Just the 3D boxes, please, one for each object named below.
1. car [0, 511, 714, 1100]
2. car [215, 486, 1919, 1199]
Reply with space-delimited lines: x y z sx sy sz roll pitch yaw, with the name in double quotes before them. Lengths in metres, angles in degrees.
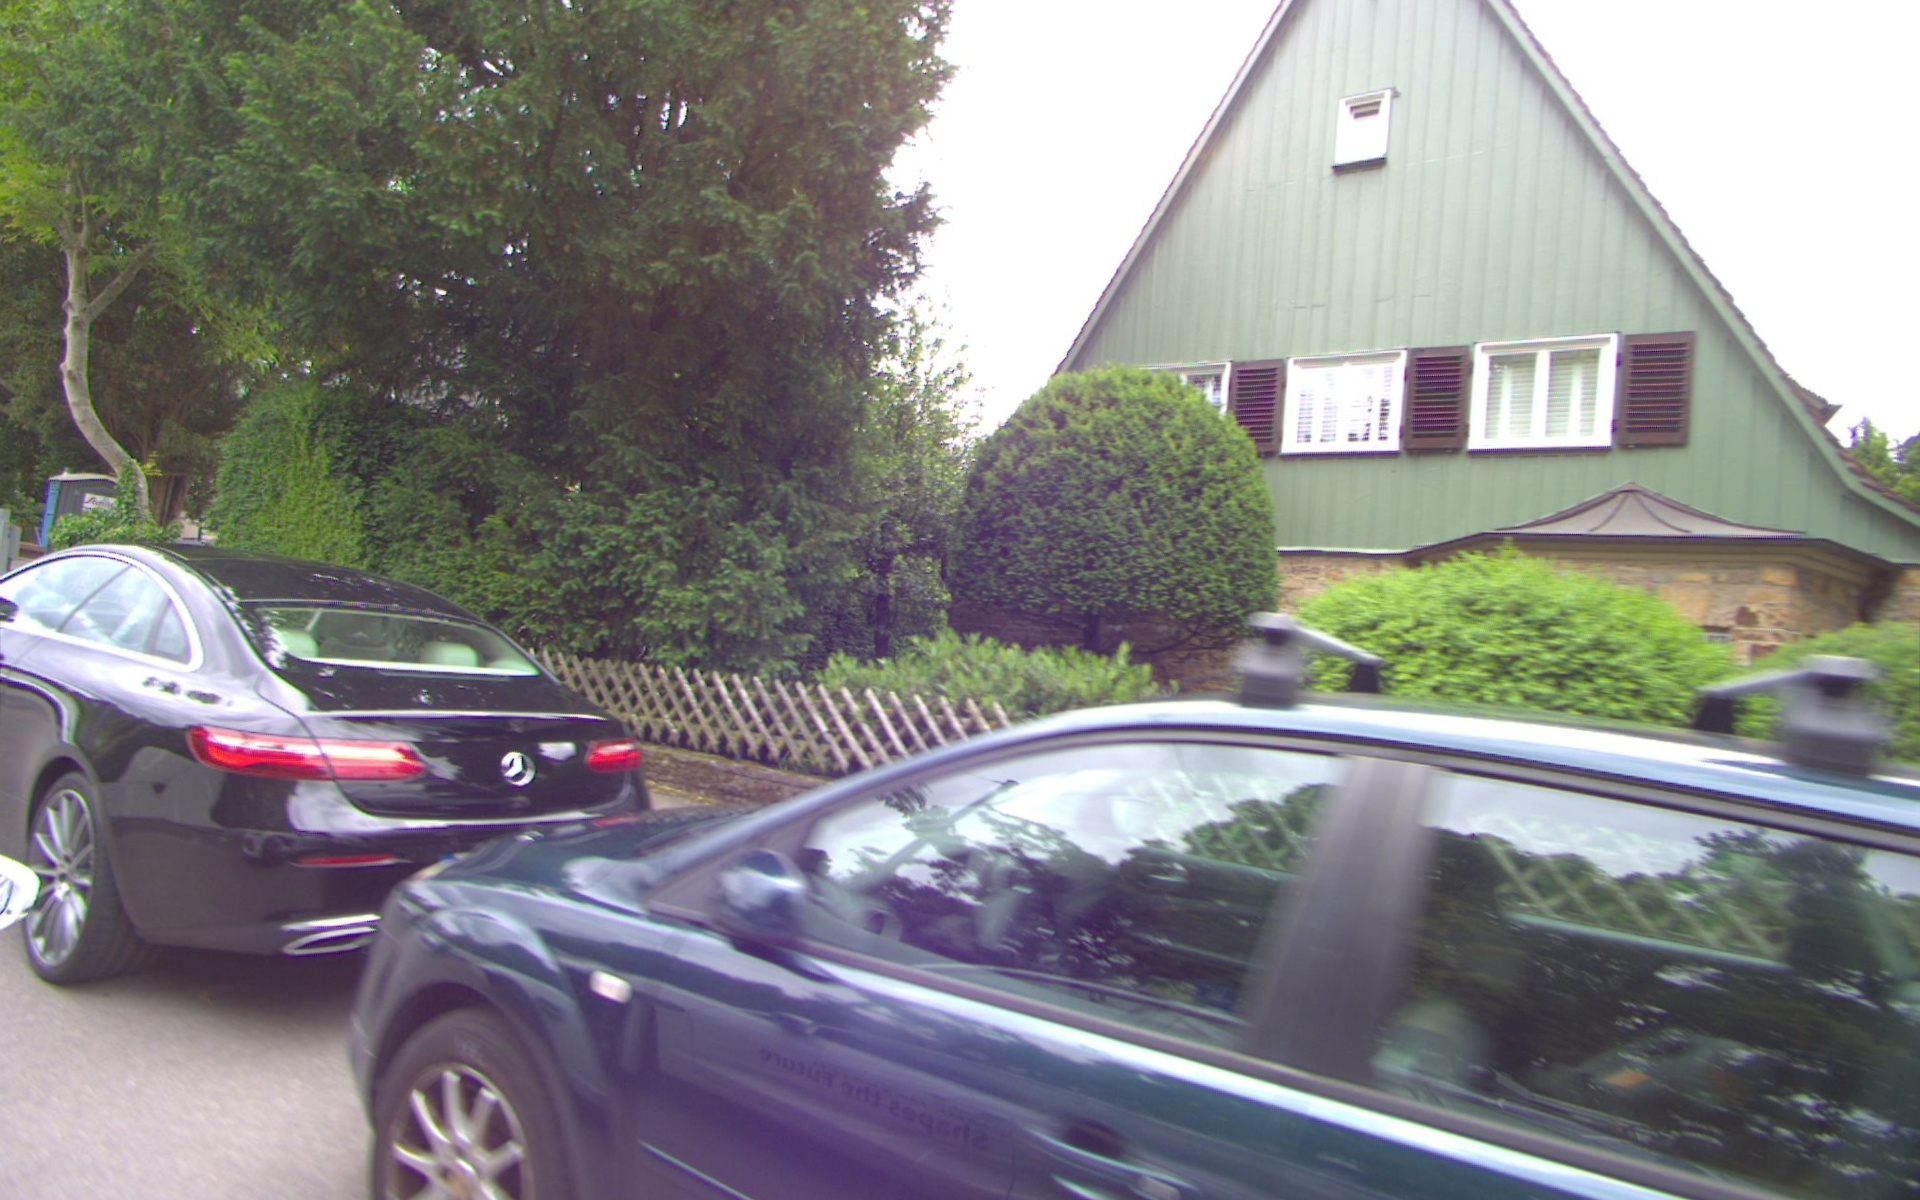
"car" -3.430 0.458 4.546 4.584 1.440 1.656 6 -3 32
"car" 0.570 0.797 2.036 4.236 1.589 1.701 6 -1 30
